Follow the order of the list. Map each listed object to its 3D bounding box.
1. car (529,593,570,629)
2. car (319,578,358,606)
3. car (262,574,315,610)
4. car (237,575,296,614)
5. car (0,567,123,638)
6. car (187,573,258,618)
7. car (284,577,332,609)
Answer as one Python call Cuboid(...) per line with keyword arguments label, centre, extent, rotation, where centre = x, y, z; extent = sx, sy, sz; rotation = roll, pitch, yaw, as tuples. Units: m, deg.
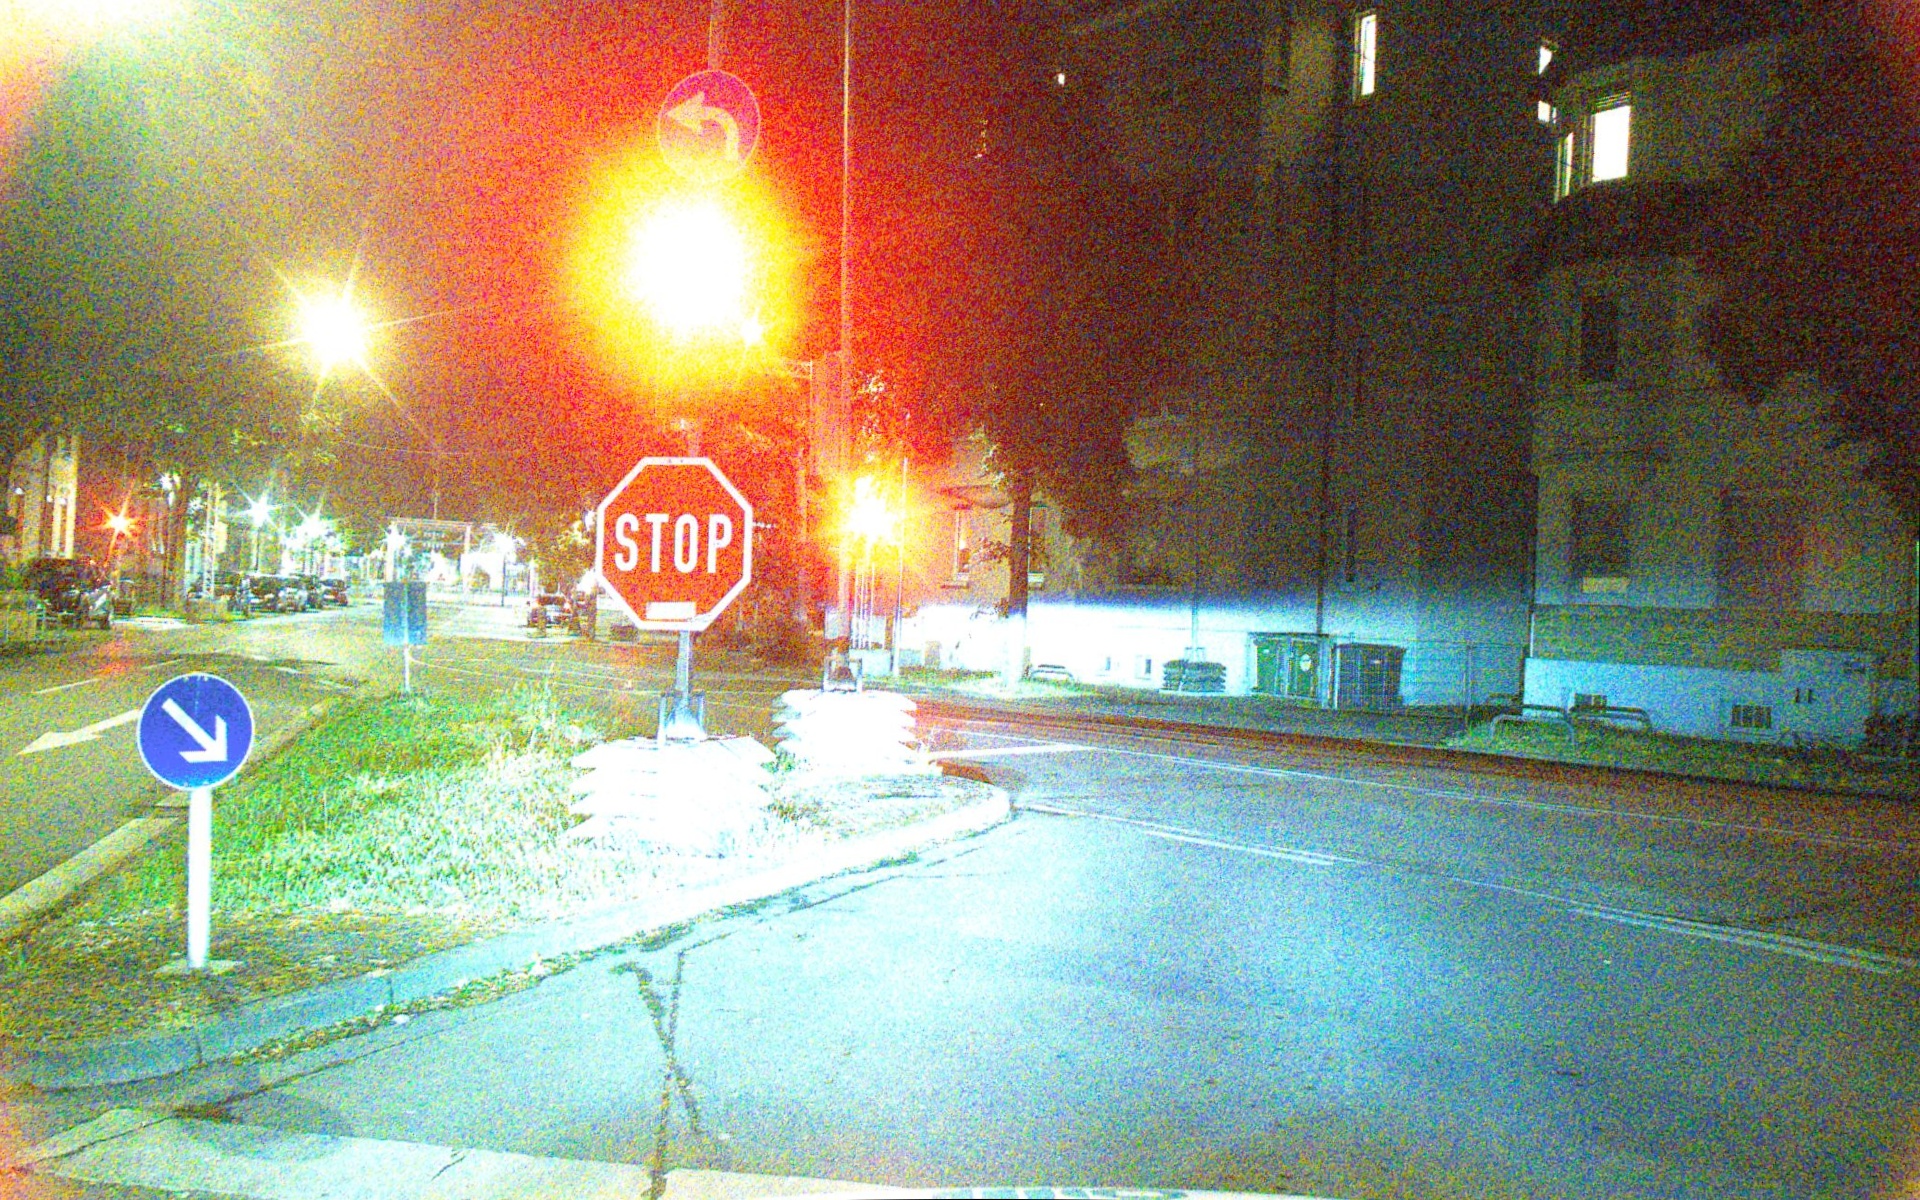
Cuboid(label="car", centre=(-17.787, 0.441, 71.611), extent=(1.623, 1.456, 3.985), rotation=(2, 0, -14))
Cuboid(label="car", centre=(-34.445, -0.461, 91.733), extent=(1.624, 1.456, 3.983), rotation=(2, 0, -15))
Cuboid(label="car", centre=(-29.233, -0.338, 72.089), extent=(1.624, 1.456, 3.983), rotation=(2, 0, -15))
Cuboid(label="car", centre=(-27.672, -0.202, 66.084), extent=(1.624, 1.456, 3.983), rotation=(2, 0, -15))
Cuboid(label="car", centre=(-20.271, 0.042, 37.339), extent=(1.624, 1.456, 3.983), rotation=(2, 0, -15))
Cuboid(label="car", centre=(-25.816, -0.155, 58.004), extent=(1.624, 1.456, 3.983), rotation=(2, 0, -15))
Cuboid(label="car", centre=(-30.915, -0.336, 78.516), extent=(1.624, 1.456, 3.983), rotation=(2, 0, -15))
